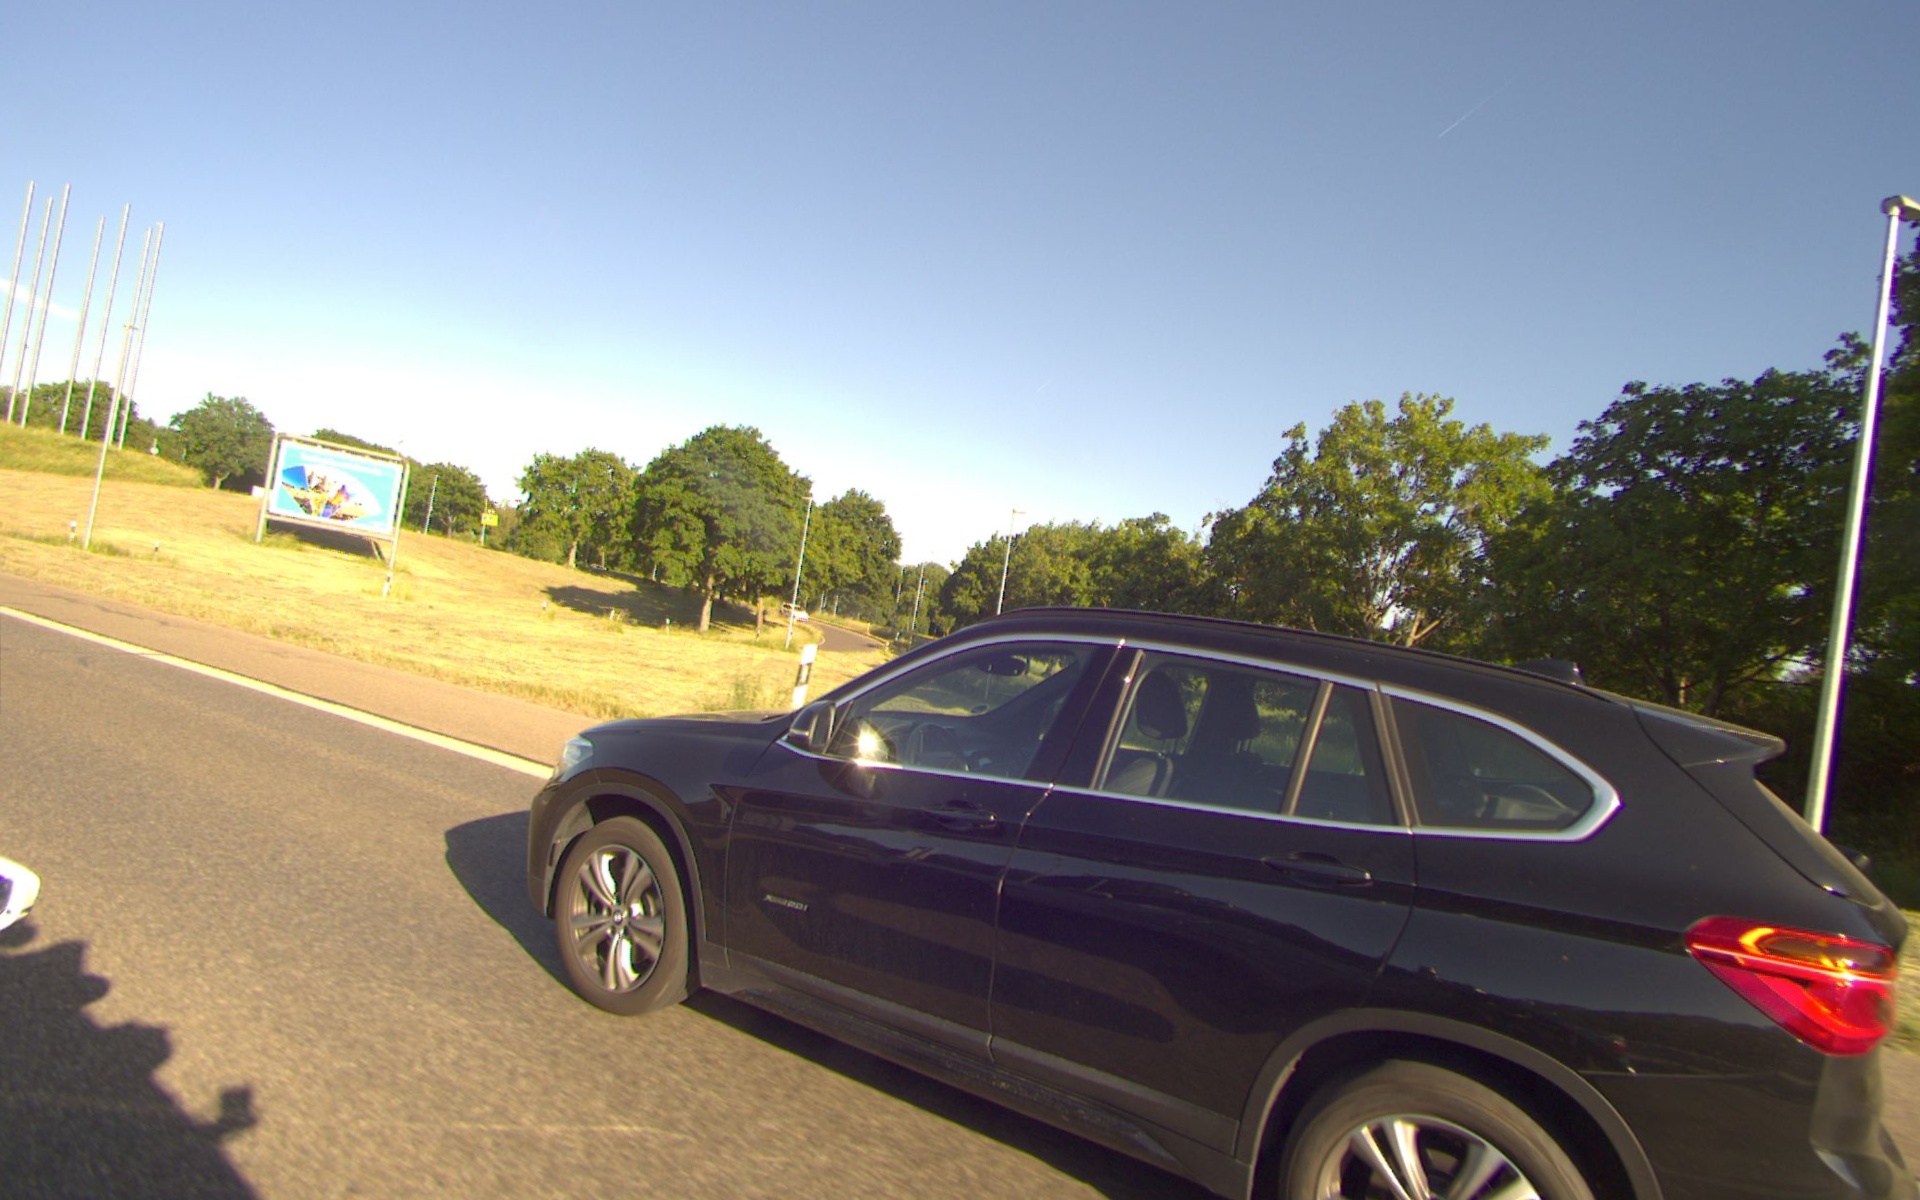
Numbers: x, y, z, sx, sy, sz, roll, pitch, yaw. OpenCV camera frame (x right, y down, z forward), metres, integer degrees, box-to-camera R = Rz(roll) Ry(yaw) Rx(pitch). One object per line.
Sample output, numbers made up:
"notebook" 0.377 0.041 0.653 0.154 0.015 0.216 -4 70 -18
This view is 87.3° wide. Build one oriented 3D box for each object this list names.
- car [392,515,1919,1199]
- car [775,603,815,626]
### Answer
"car" 0.143 0.787 3.693 4.444 1.591 1.759 8 -1 31
"car" -16.797 1.457 102.515 3.946 1.711 1.861 8 -1 43
